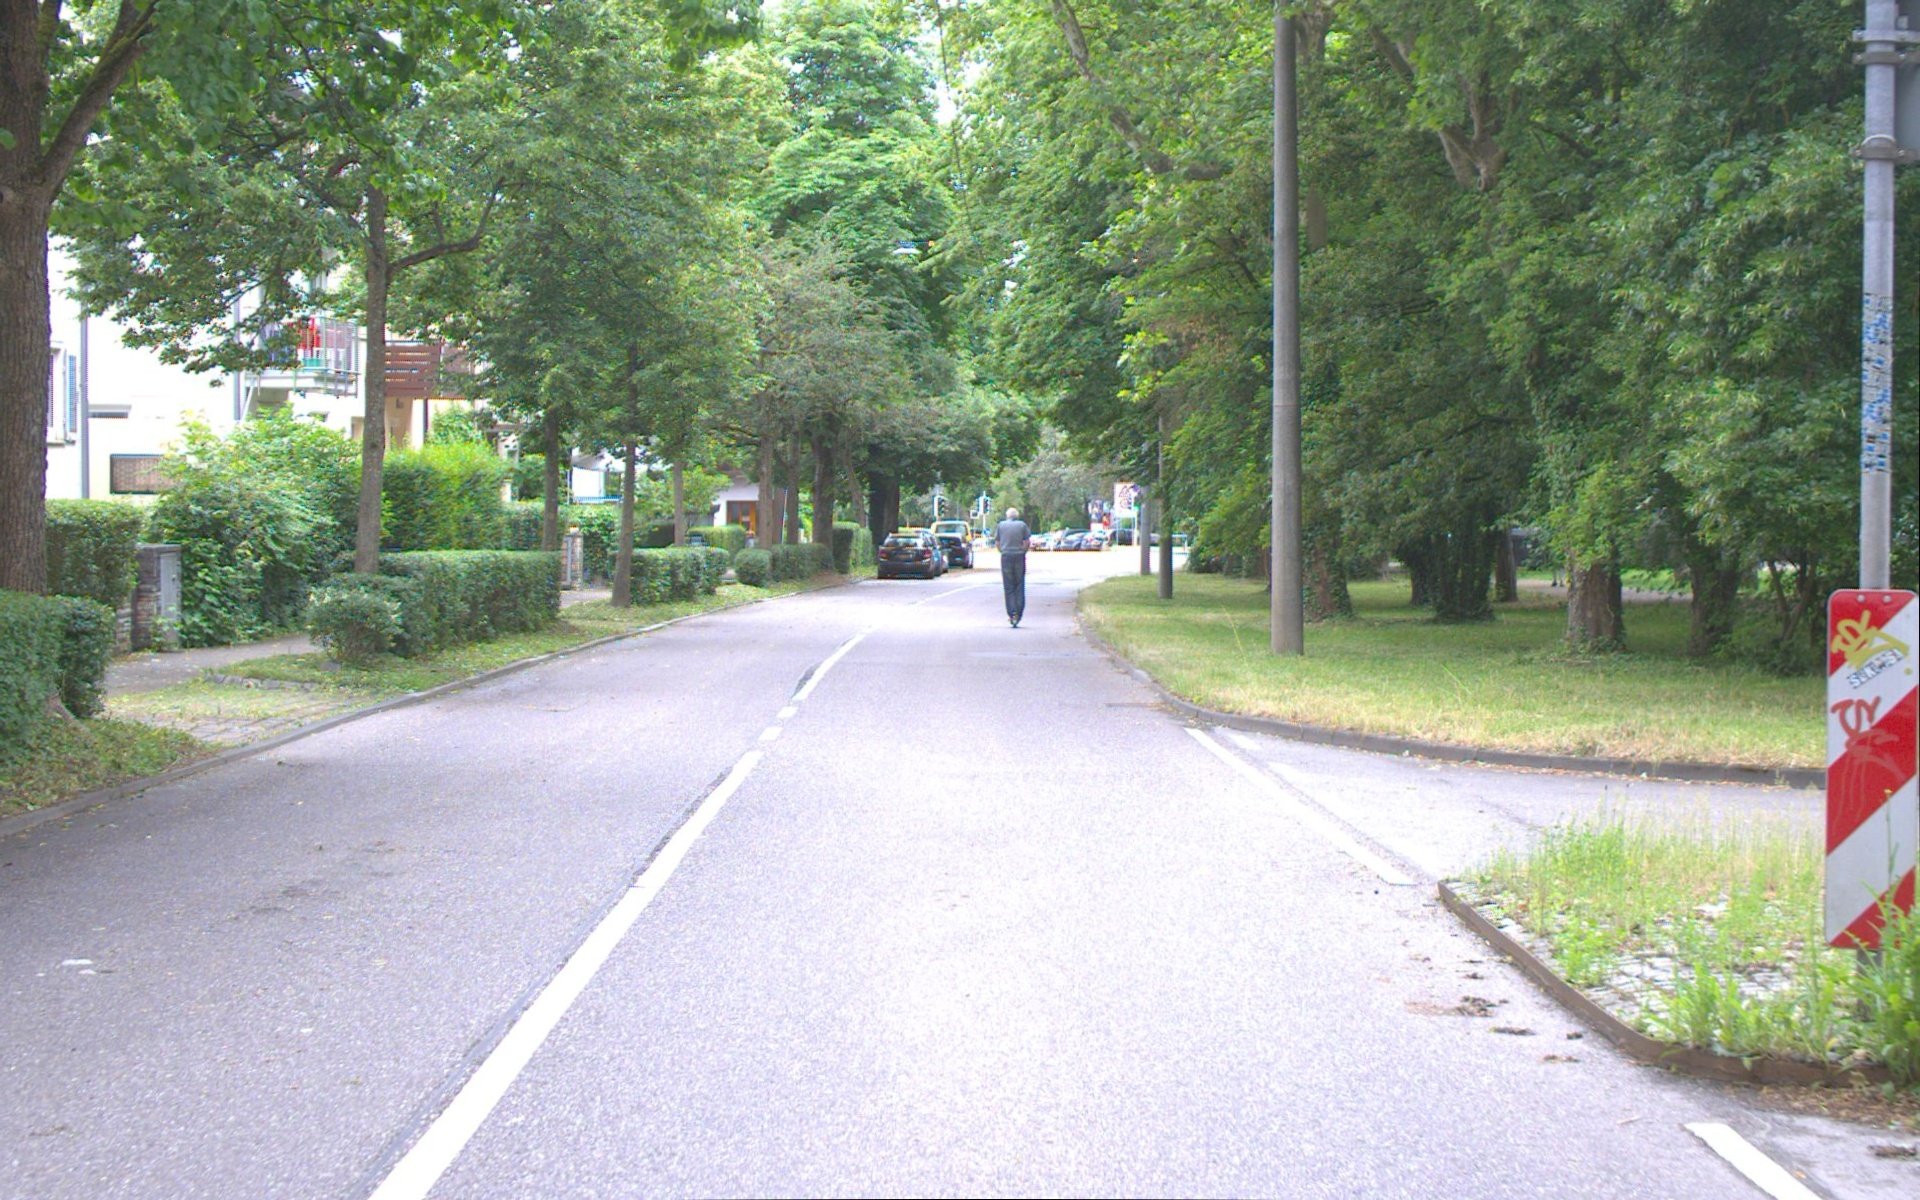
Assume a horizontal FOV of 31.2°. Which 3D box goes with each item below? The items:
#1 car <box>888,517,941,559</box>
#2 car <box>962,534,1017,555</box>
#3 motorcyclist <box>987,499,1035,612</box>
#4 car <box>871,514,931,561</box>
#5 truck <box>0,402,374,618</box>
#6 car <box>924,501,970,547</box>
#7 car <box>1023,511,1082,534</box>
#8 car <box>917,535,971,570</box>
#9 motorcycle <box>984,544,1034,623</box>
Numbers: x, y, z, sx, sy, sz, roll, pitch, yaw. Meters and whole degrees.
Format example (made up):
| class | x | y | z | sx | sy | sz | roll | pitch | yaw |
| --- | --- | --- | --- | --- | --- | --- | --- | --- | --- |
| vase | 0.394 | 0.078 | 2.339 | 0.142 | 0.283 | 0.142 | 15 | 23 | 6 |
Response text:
| class | x | y | z | sx | sy | sz | roll | pitch | yaw |
| --- | --- | --- | --- | --- | --- | --- | --- | --- | --- |
| car | -1.509 | -2.071 | 114.425 | 1.664 | 1.387 | 3.707 | 0 | 1 | 1 |
| car | 2.132 | -4.040 | 248.836 | 3.987 | 1.505 | 1.800 | 0 | 1 | 1 |
| motorcyclist | 0.810 | -0.705 | 54.325 | 0.673 | 1.755 | 0.639 | 2 | 1 | 4 |
| car | -1.861 | -1.992 | 109.240 | 1.794 | 1.467 | 4.418 | 0 | 1 | 1 |
| truck | -11.978 | -1.361 | 51.979 | 5.796 | 3.120 | 2.518 | 1 | 1 | 0 |
| car | -0.576 | -3.313 | 151.152 | 1.857 | 1.957 | 4.505 | 0 | 1 | -2 |
| car | 6.272 | -5.254 | 233.780 | 3.987 | 1.505 | 1.800 | 0 | 1 | 1 |
| car | -0.634 | -1.943 | 140.408 | 1.892 | 1.405 | 4.553 | 0 | 1 | 3 |
| motorcycle | 0.780 | -0.269 | 54.095 | 0.673 | 1.213 | 1.273 | 2 | 1 | 4 |
